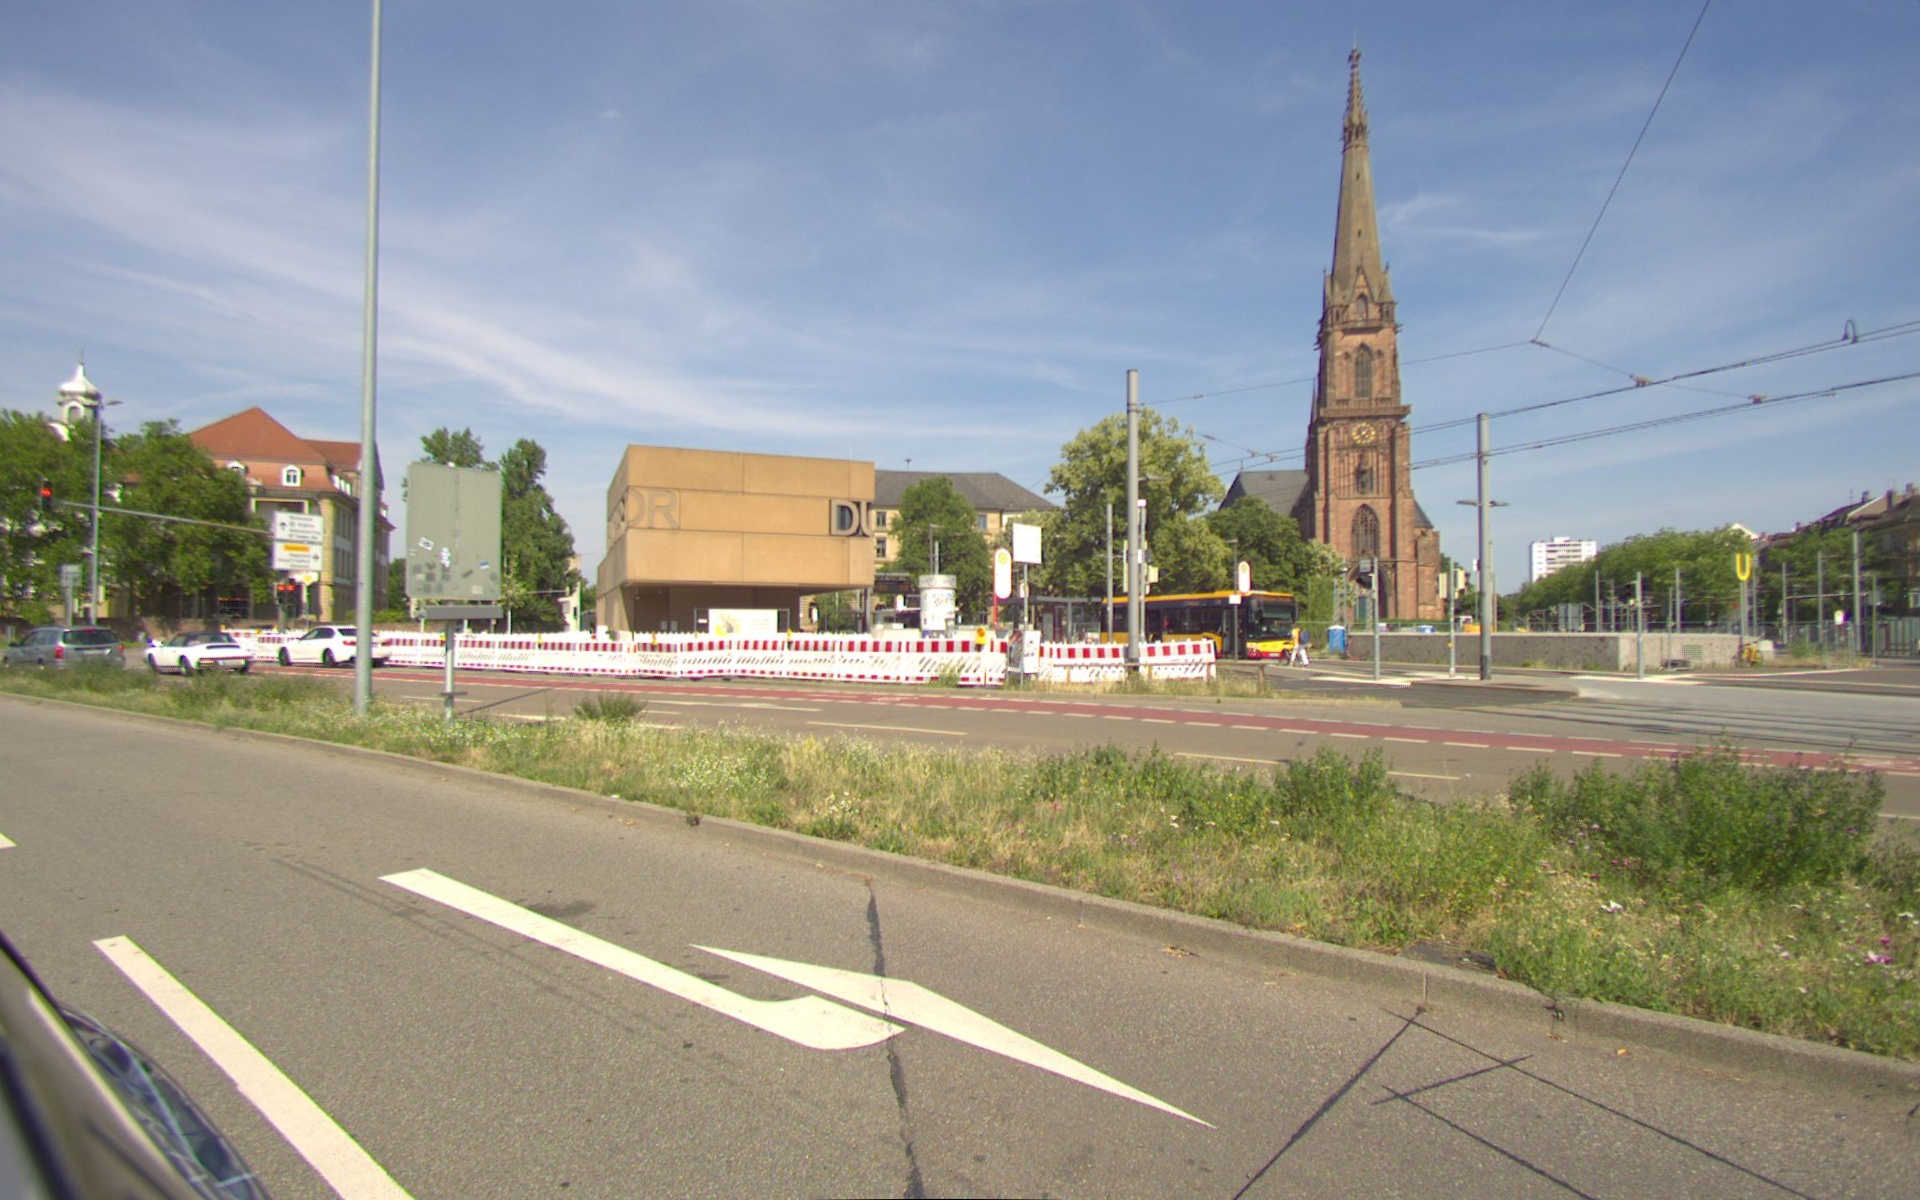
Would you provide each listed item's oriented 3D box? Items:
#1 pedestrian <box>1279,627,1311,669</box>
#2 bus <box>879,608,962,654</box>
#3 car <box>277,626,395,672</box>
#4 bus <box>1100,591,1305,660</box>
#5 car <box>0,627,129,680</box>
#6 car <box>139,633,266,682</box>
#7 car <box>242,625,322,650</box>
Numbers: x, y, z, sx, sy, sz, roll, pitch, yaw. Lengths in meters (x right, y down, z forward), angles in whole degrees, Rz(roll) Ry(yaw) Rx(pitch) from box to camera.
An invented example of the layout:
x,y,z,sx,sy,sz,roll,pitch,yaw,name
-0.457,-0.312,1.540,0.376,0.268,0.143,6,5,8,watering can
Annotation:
x,y,z,sx,sy,sz,roll,pitch,yaw,name
11.414,1.626,34.469,0.911,1.377,0.532,-1,0,41,pedestrian
-3.320,2.444,79.566,2.710,3.348,11.827,1,-2,-22,bus
-21.381,1.636,34.661,3.984,1.431,1.785,-1,0,30,car
10.511,1.016,45.979,2.711,2.703,11.828,-1,0,-22,bus
-24.682,1.419,27.796,3.984,1.296,1.583,-1,0,30,car
-22.413,1.658,29.921,3.984,1.296,1.583,-1,0,30,car
-42.940,2.345,64.185,1.743,1.454,4.092,-1,0,16,car
